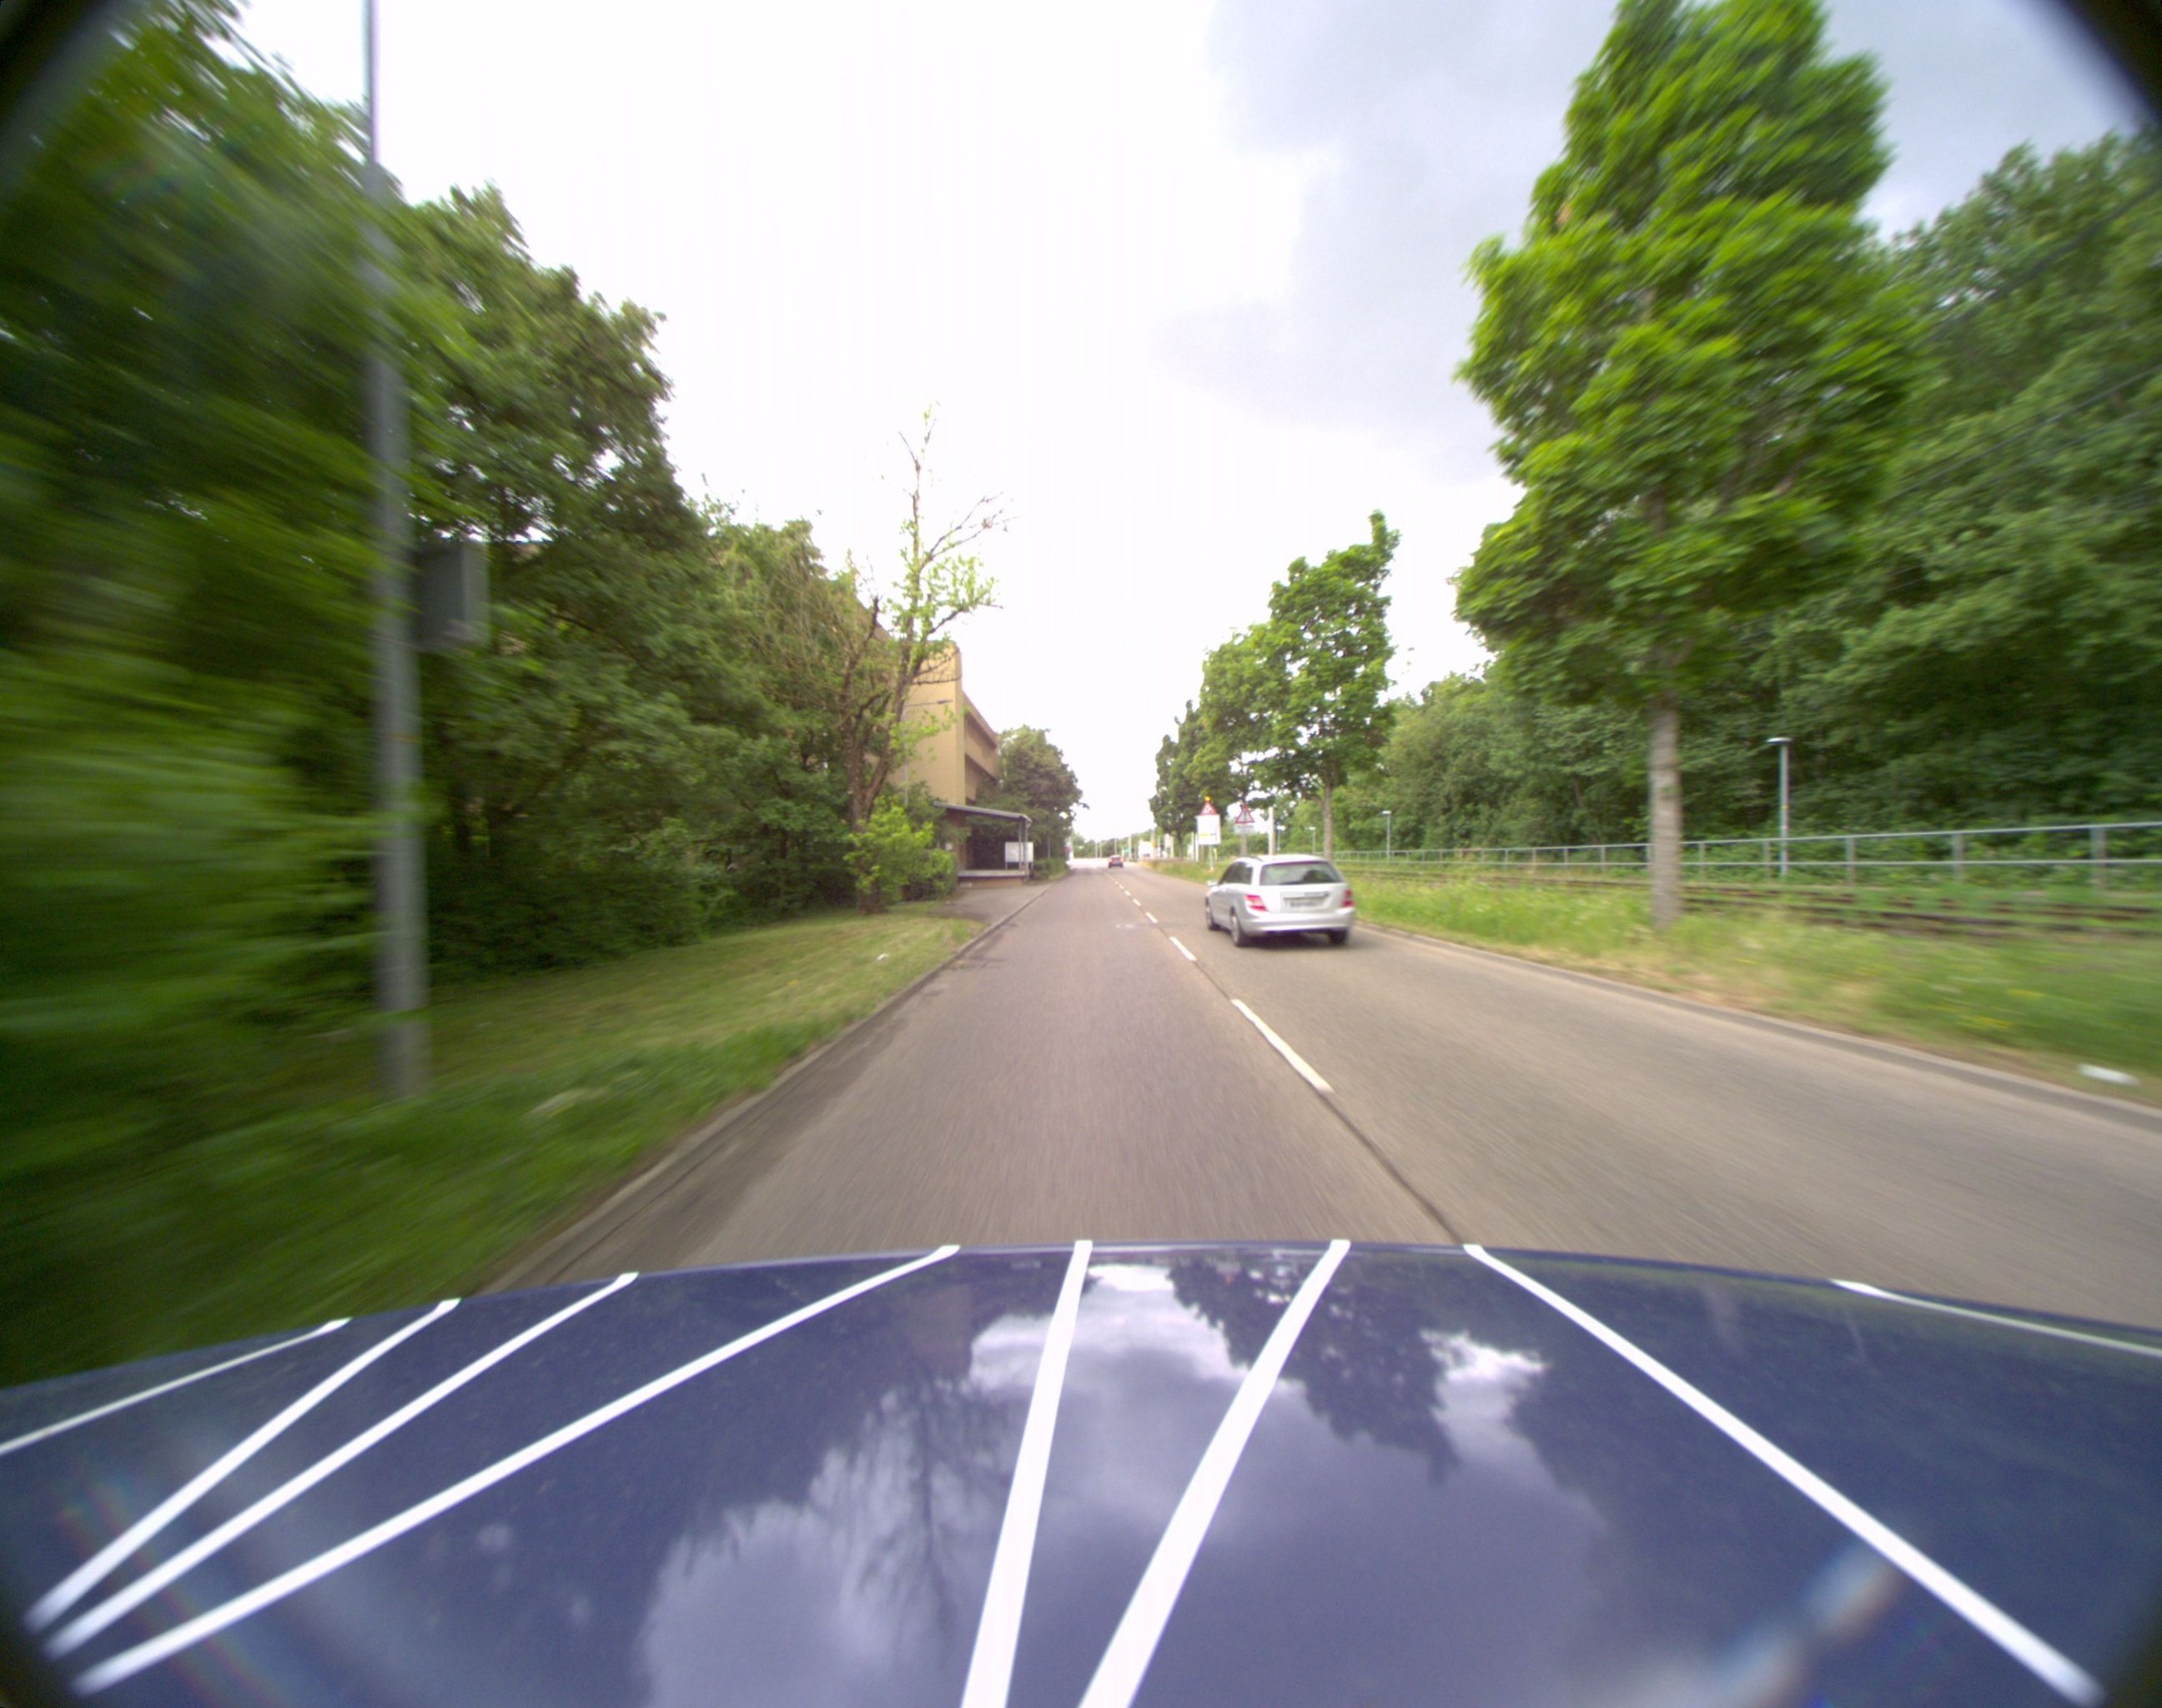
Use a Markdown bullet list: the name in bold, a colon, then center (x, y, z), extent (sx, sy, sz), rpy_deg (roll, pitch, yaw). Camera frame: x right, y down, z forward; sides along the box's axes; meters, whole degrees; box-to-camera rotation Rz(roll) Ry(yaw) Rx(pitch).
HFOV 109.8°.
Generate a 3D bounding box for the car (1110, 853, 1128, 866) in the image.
- **car**: center (4.725, 0.643, 94.282), extent (2.038, 1.508, 3.654), rpy_deg (-2, 0, 1)

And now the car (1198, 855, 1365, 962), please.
- **car**: center (3.213, 0.791, 13.052), extent (1.778, 1.460, 4.241), rpy_deg (-2, 0, 1)
